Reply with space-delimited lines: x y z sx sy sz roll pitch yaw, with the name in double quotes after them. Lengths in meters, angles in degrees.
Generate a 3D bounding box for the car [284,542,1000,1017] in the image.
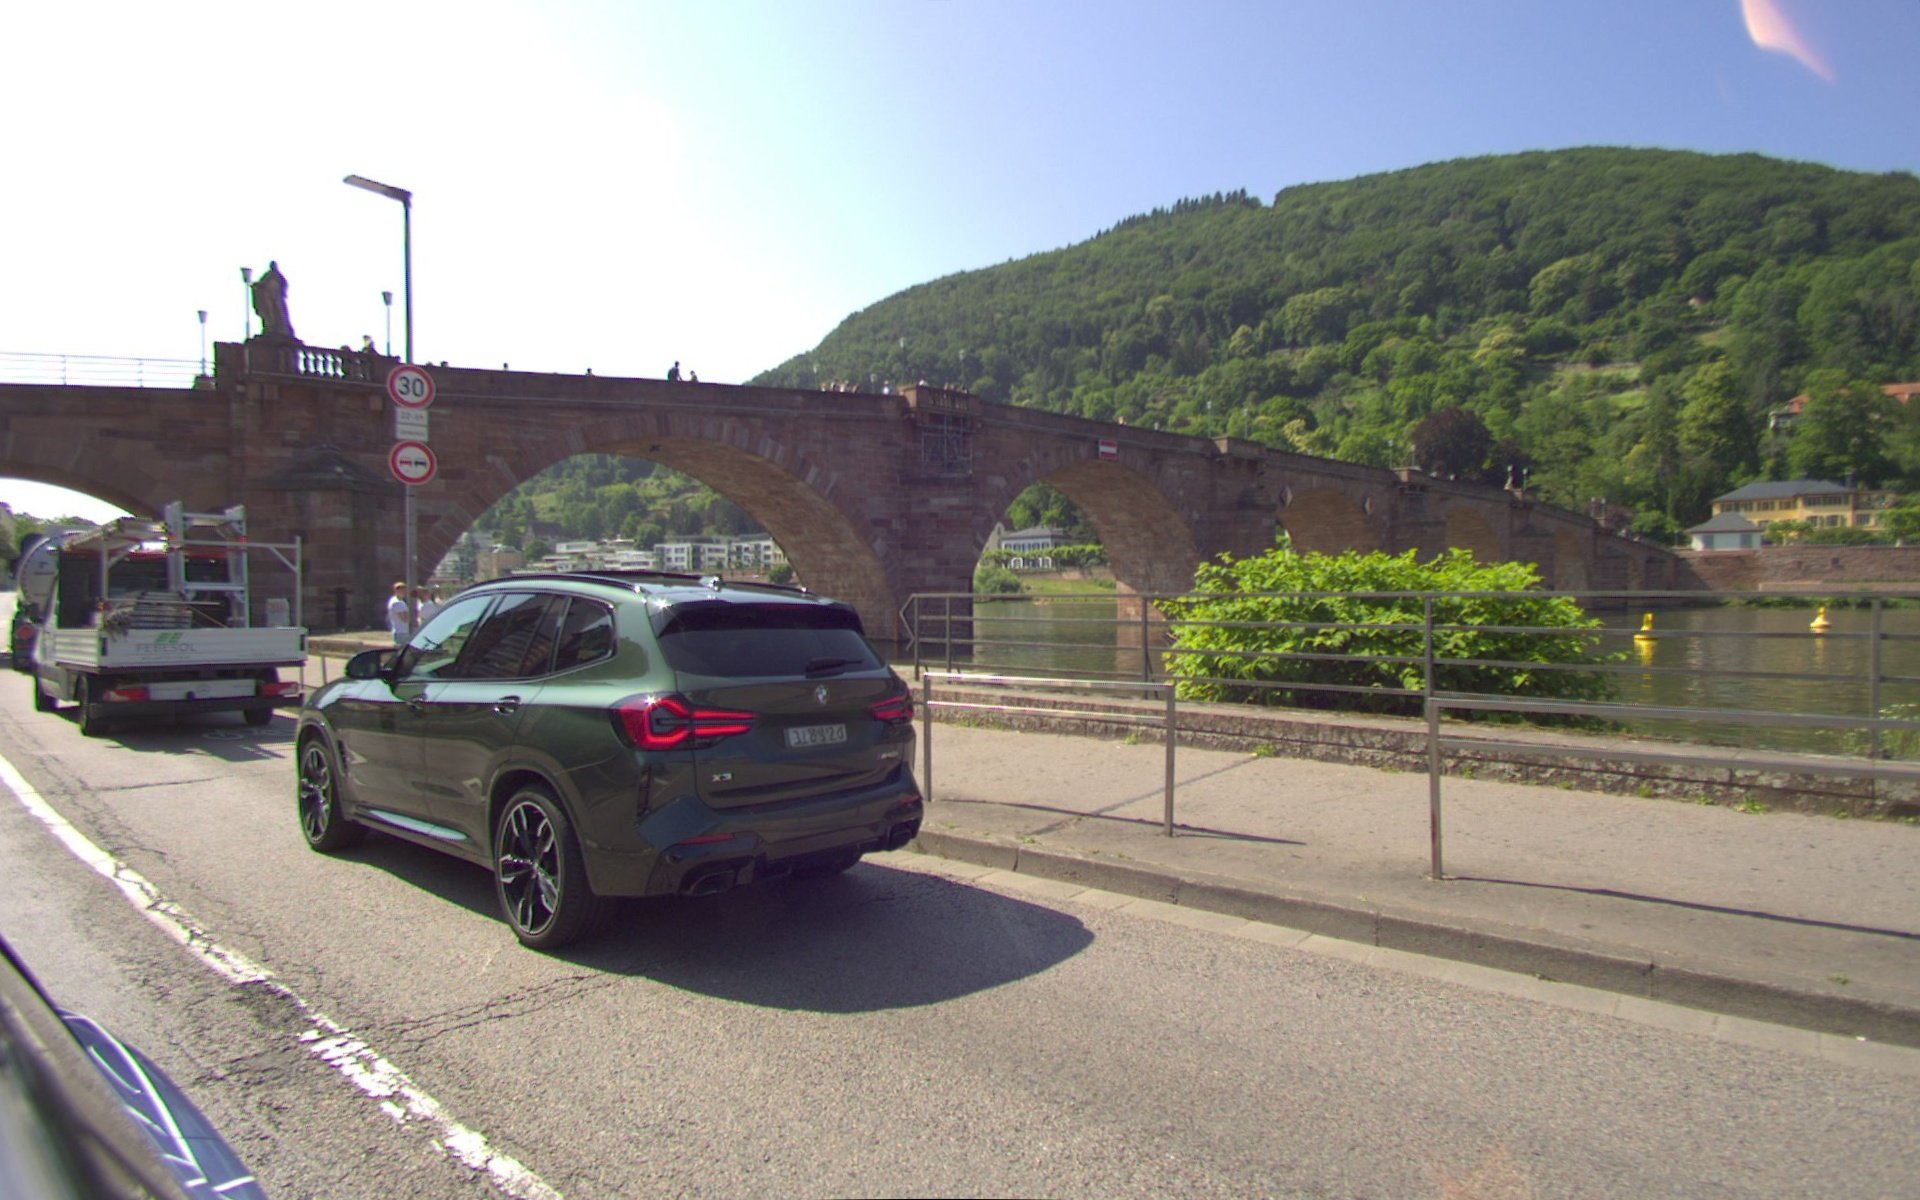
-2.081 0.686 5.784 4.451 1.694 1.844 -1 -2 41 "car"

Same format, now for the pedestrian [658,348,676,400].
-12.342 -9.509 42.629 0.639 2.029 0.461 1 0 41 "pedestrian"

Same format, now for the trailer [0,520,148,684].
-24.551 0.106 27.733 2.494 3.672 11.539 1 -1 -44 "trailer"

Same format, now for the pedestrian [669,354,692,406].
-11.901 -9.372 43.115 0.625 2.029 0.685 1 0 41 "pedestrian"

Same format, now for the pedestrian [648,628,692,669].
-8.322 1.383 29.007 0.953 1.139 0.832 0 -1 -40 "pedestrian"

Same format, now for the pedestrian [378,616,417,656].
-17.982 1.146 32.350 1.026 1.239 0.779 -2 0 44 "pedestrian"

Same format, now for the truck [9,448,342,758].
-11.254 0.113 14.174 7.609 3.286 2.351 -1 -2 42 "truck"

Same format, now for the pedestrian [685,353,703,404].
-11.464 -9.522 43.569 0.639 2.029 0.461 1 0 41 "pedestrian"

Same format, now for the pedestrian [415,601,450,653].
-17.096 0.865 32.781 0.774 1.663 0.779 -2 0 44 "pedestrian"

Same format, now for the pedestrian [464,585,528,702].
-7.105 0.650 15.526 0.538 1.735 0.755 -1 0 8 "pedestrian"

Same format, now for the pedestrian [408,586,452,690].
-9.541 0.666 18.243 0.535 1.806 0.824 -1 0 -18 "pedestrian"

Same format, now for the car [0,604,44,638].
-54.720 1.209 58.974 1.851 1.841 4.551 2 -1 -41 "car"

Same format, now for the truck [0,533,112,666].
-28.645 0.058 31.911 2.494 3.777 6.252 2 -2 -43 "truck"

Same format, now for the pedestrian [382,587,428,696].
-9.457 0.691 17.267 0.513 1.806 0.824 -1 0 -18 "pedestrian"
